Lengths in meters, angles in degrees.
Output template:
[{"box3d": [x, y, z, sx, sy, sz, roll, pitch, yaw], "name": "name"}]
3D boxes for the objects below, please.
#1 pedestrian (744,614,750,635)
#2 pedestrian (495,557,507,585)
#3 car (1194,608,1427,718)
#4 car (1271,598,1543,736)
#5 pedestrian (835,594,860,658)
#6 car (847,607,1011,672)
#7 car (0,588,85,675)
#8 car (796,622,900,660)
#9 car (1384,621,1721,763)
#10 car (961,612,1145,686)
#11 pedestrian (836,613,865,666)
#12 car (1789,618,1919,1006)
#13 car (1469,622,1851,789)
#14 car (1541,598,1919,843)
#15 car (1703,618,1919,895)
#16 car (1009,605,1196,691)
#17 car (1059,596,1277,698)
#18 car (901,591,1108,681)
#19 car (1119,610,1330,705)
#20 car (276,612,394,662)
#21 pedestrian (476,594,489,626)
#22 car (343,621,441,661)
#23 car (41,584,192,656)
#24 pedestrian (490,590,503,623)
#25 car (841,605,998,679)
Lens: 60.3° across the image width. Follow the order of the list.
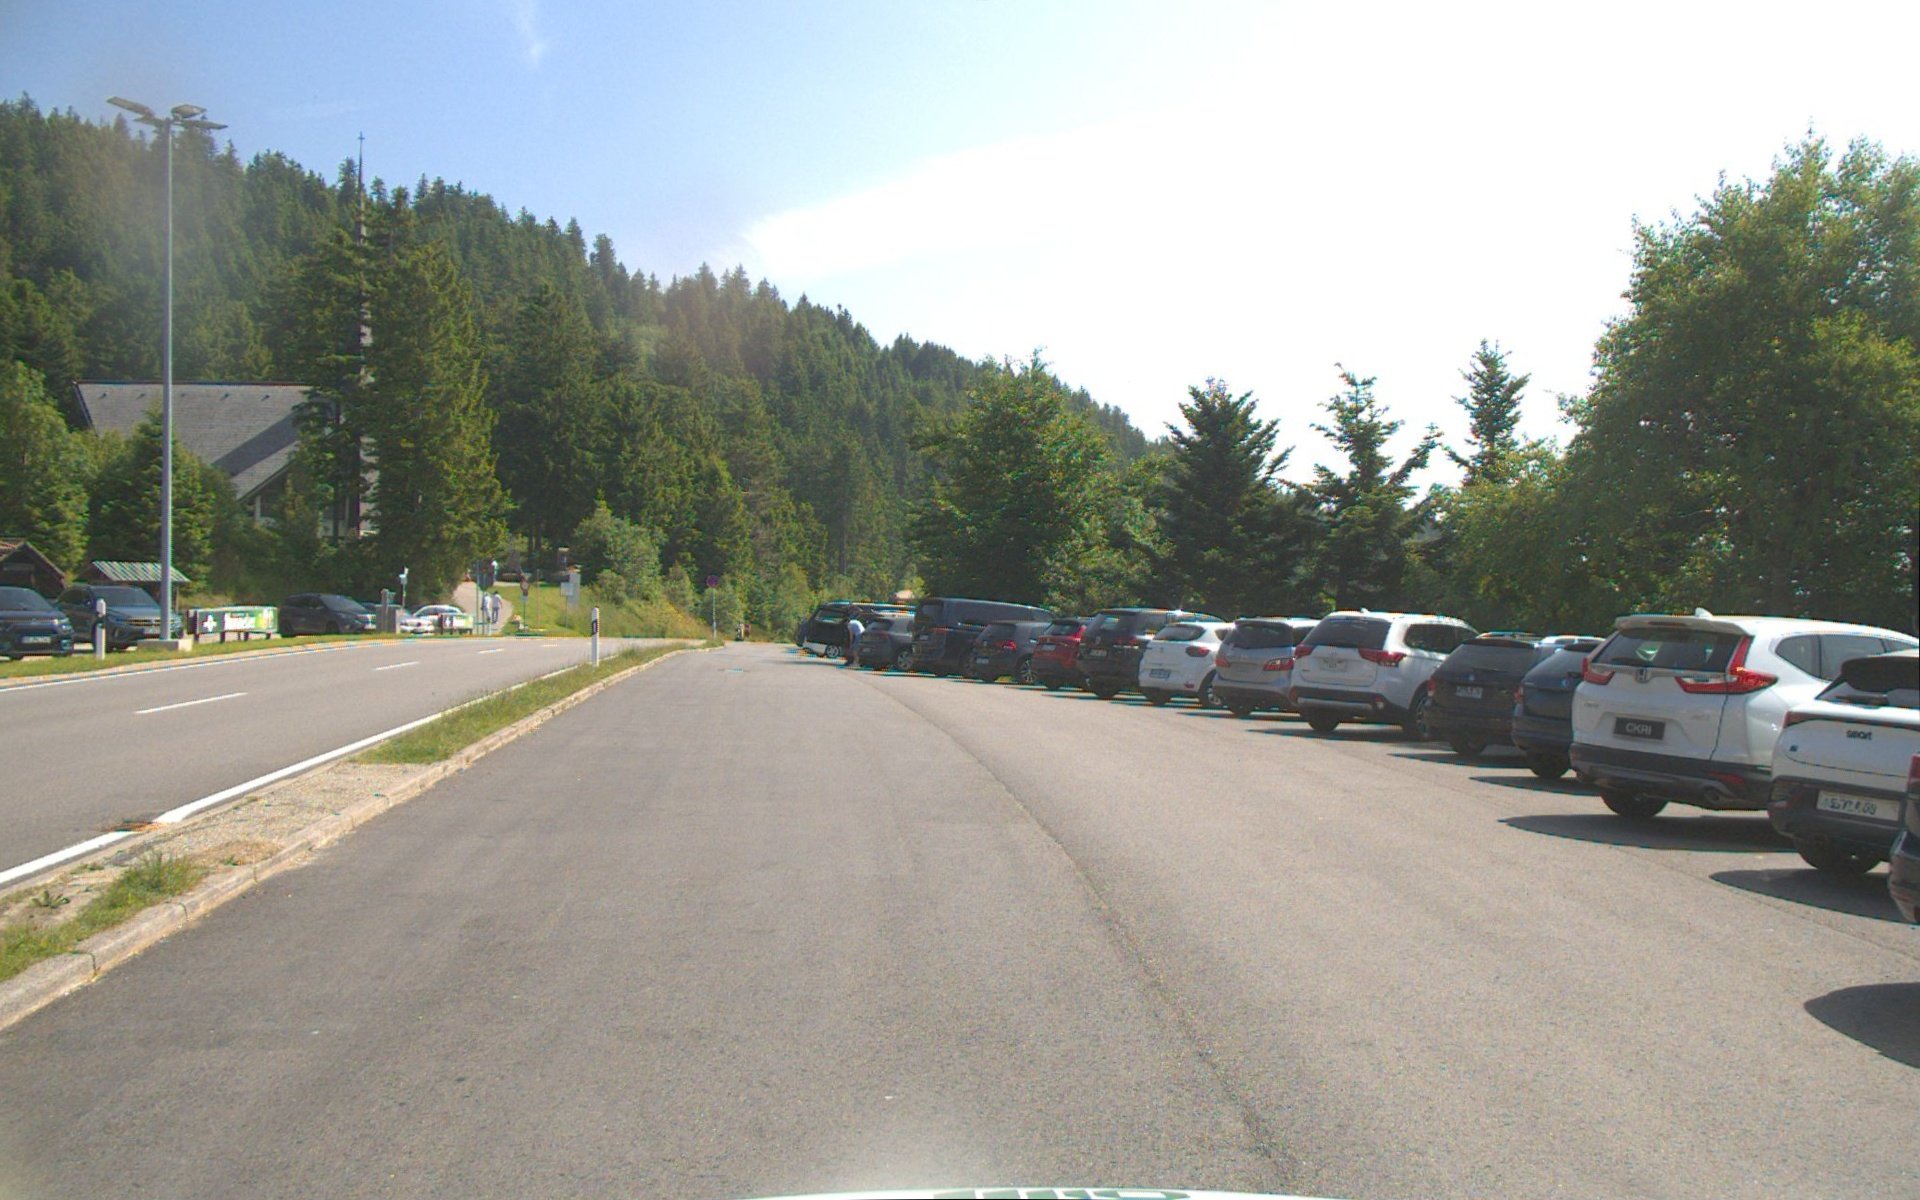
[{"box3d": [-17.723, 2.026, 137.462, 0.386, 1.778, 0.406, 1, 0, 8], "name": "pedestrian"}, {"box3d": [-33.624, -2.152, 121.238, 0.801, 2.049, 0.850, 0, 1, -15], "name": "pedestrian"}, {"box3d": [5.794, 1.049, 27.083, 3.970, 1.576, 1.791, 5, -1, -45], "name": "car"}, {"box3d": [6.410, 0.955, 23.474, 4.195, 1.724, 1.833, 3, -1, -45], "name": "car"}, {"box3d": [-3.229, 0.752, 47.456, 0.568, 1.791, 0.632, 4, -2, -7], "name": "pedestrian"}, {"box3d": [-0.812, 1.050, 43.986, 3.941, 1.468, 1.823, 4, -1, -28], "name": "car"}, {"box3d": [-18.849, 0.575, 32.572, 3.933, 1.579, 1.770, 1, 1, 45], "name": "car"}, {"box3d": [-5.127, 1.875, 75.661, 4.394, 1.321, 1.571, 6, -2, -23], "name": "car"}, {"box3d": [7.244, 1.131, 20.102, 4.005, 1.486, 1.872, 4, -1, -36], "name": "car"}, {"box3d": [2.155, 1.134, 38.033, 3.952, 1.439, 1.724, 4, -1, -34], "name": "car"}, {"box3d": [-2.984, 1.086, 45.268, 0.758, 1.427, 0.669, 0, 1, -1], "name": "pedestrian"}, {"box3d": [5.919, 0.849, 6.805, 4.271, 1.513, 1.808, 0, 1, -10], "name": "car"}, {"box3d": [7.232, 1.097, 17.032, 3.753, 1.484, 1.646, 4, -1, -30], "name": "car"}, {"box3d": [6.910, 0.964, 13.272, 4.121, 1.678, 1.876, 4, -1, -27], "name": "car"}, {"box3d": [7.056, 0.964, 10.539, 4.025, 1.526, 1.933, 3, -1, -20], "name": "car"}, {"box3d": [3.113, 1.047, 35.641, 3.970, 1.617, 1.833, 5, -1, -45], "name": "car"}, {"box3d": [4.101, 0.942, 32.133, 4.241, 1.724, 1.959, 5, -1, -45], "name": "car"}, {"box3d": [1.120, 0.890, 41.093, 4.699, 1.912, 1.950, 4, -1, -26], "name": "car"}, {"box3d": [4.856, 1.064, 30.049, 3.970, 1.502, 1.739, 5, -1, -45], "name": "car"}, {"box3d": [-22.069, 1.297, 58.344, 4.123, 1.662, 1.784, 0, -2, 33], "name": "car"}, {"box3d": [-26.381, 0.555, 91.390, 0.641, 1.696, 0.641, 1, -2, -13], "name": "pedestrian"}, {"box3d": [-22.246, 1.580, 64.726, 3.892, 1.466, 1.737, 0, 1, 37], "name": "car"}, {"box3d": [-20.030, 0.455, 39.230, 3.983, 1.595, 1.731, 1, 0, 39], "name": "car"}, {"box3d": [-25.758, 0.348, 91.923, 0.641, 1.830, 0.641, 1, 0, -13], "name": "pedestrian"}, {"box3d": [-1.147, 1.197, 47.150, 3.953, 1.691, 1.976, 7, -3, -34], "name": "car"}]
